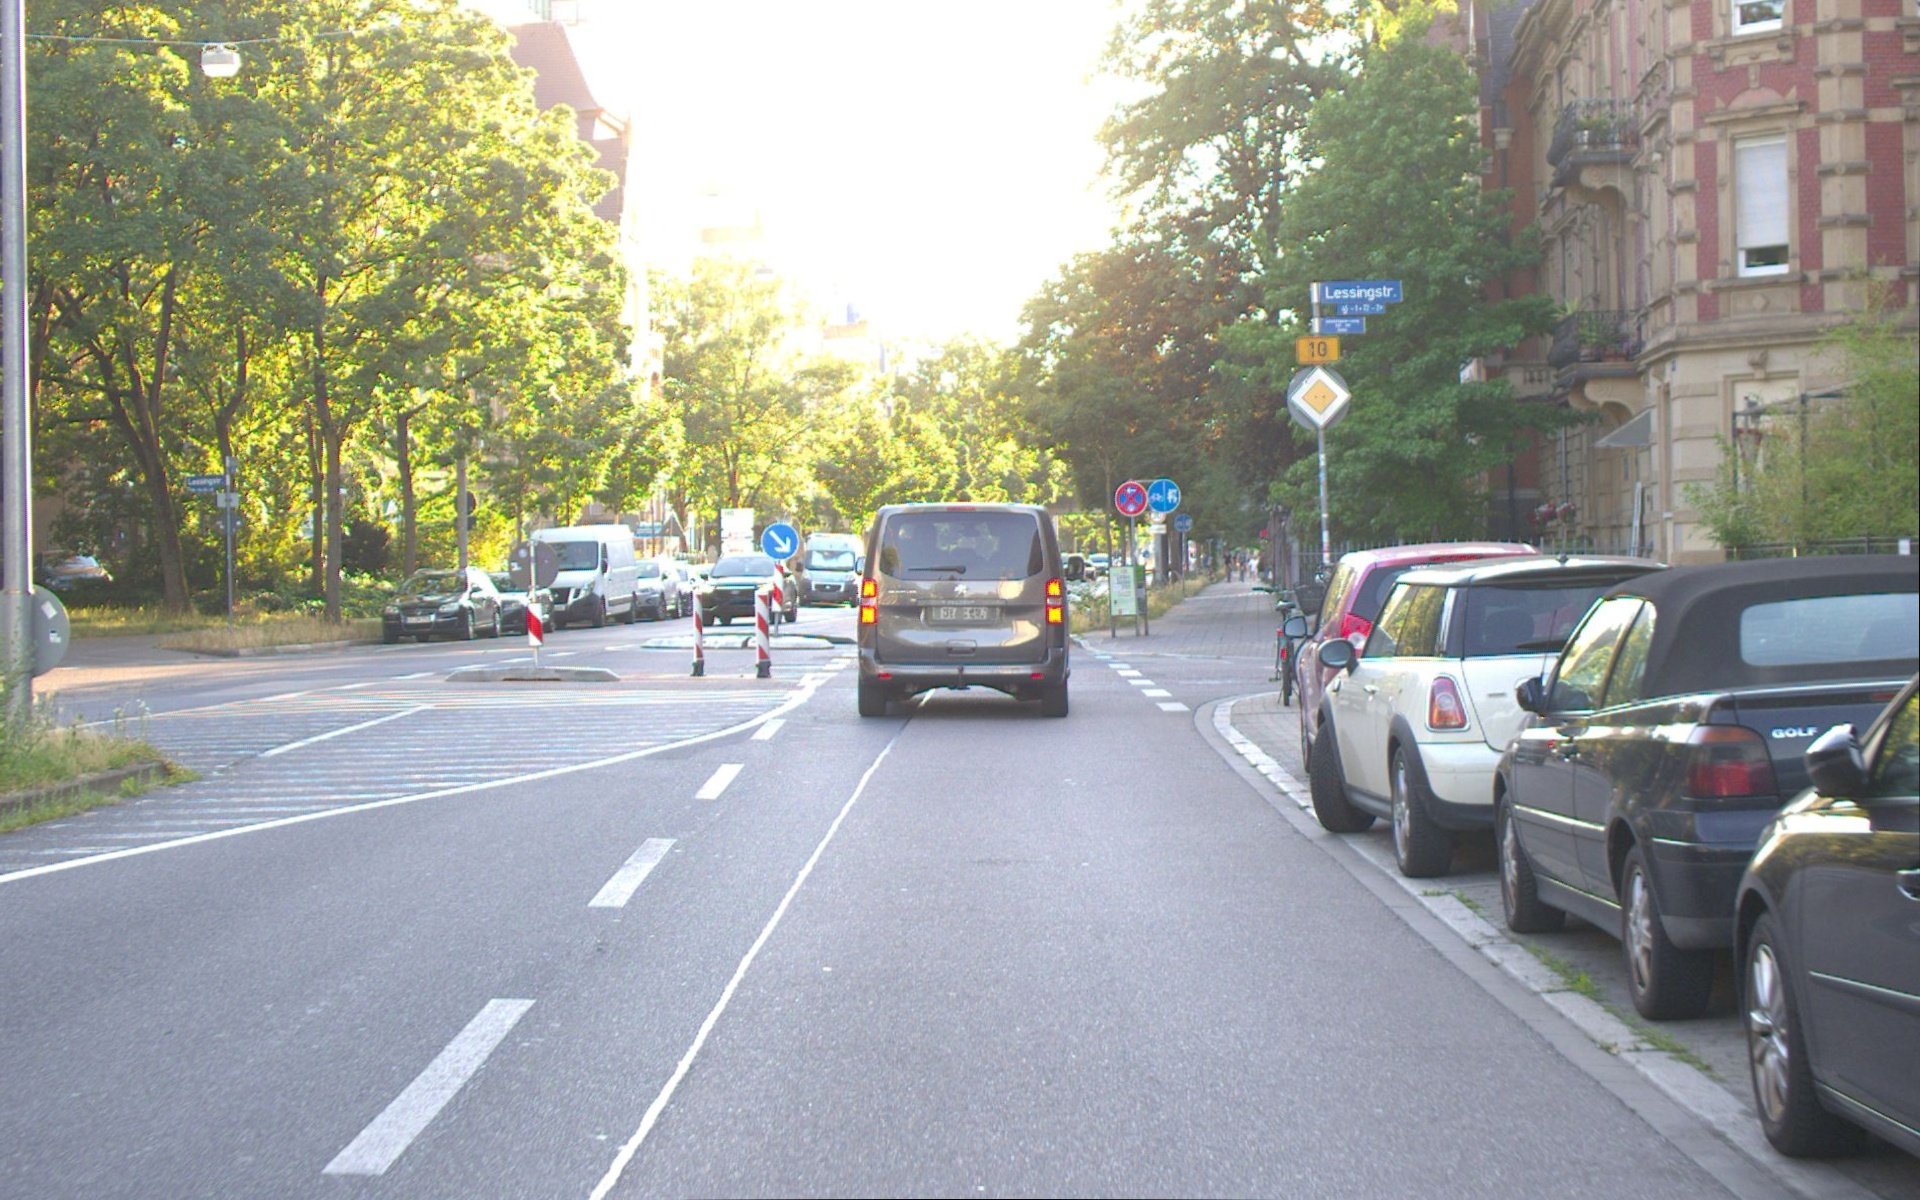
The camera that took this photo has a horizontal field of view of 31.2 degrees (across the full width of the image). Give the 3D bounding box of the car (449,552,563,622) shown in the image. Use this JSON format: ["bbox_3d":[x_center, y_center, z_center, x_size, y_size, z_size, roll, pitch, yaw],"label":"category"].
[{"bbox_3d":[-9.971,-0.305,75.777,1.628,1.424,4.242,-2,1,4],"label":"car"}]

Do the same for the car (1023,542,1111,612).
[{"bbox_3d":[2.629,-0.577,83.455,1.994,1.628,4.000,-1,1,3],"label":"car"}]

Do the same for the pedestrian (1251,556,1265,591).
[{"bbox_3d":[14.309,-1.277,164.962,0.645,1.627,0.656,1,1,5],"label":"pedestrian"}]

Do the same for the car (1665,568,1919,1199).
[{"bbox_3d":[2.911,0.650,7.010,1.887,1.443,4.464,-4,1,-1],"label":"car"}]

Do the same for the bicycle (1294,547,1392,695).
[{"bbox_3d":[3.524,0.196,31.778,0.565,1.271,2.265,-5,-1,0],"label":"bicycle"}]

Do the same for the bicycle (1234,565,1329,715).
[{"bbox_3d":[2.956,0.366,31.776,0.565,1.295,2.265,-5,-1,0],"label":"bicycle"}]

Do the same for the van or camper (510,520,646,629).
[{"bbox_3d":[-9.194,-0.654,83.284,2.091,2.460,6.305,-2,1,4],"label":"van or camper"}]

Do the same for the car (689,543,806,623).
[{"bbox_3d":[-4.926,-0.424,80.401,1.877,1.700,4.566,-3,0,7],"label":"car"}]

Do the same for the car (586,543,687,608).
[{"bbox_3d":[-8.501,-0.667,90.771,1.866,1.639,4.571,-2,1,4],"label":"car"}]

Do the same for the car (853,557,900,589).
[{"bbox_3d":[-3.356,-1.094,137.884,1.536,1.244,3.613,1,1,4],"label":"car"}]

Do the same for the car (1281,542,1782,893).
[{"bbox_3d":[2.678,0.486,16.903,1.677,1.421,3.677,-4,1,-1],"label":"car"}]

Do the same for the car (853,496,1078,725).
[{"bbox_3d":[0.077,0.055,31.392,1.887,1.918,3.839,-1,1,1],"label":"car"}]

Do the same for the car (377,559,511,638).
[{"bbox_3d":[-10.404,-0.057,69.603,1.624,1.501,4.543,-1,1,5],"label":"car"}]

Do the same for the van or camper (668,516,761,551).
[{"bbox_3d":[-18.291,-4.960,256.274,6.564,2.513,2.449,1,1,4],"label":"van or camper"}]

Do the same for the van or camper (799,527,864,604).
[{"bbox_3d":[-4.587,-1.256,123.646,1.993,2.659,6.039,1,1,1],"label":"van or camper"}]

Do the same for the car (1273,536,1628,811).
[{"bbox_3d":[2.985,0.391,21.561,1.726,1.460,3.546,-4,1,2],"label":"car"}]

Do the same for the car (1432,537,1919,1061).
[{"bbox_3d":[2.976,0.548,12.323,1.887,1.421,4.342,-4,1,0],"label":"car"}]

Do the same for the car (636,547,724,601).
[{"bbox_3d":[-7.811,-0.753,96.262,1.736,1.440,4.624,-1,1,4],"label":"car"}]
